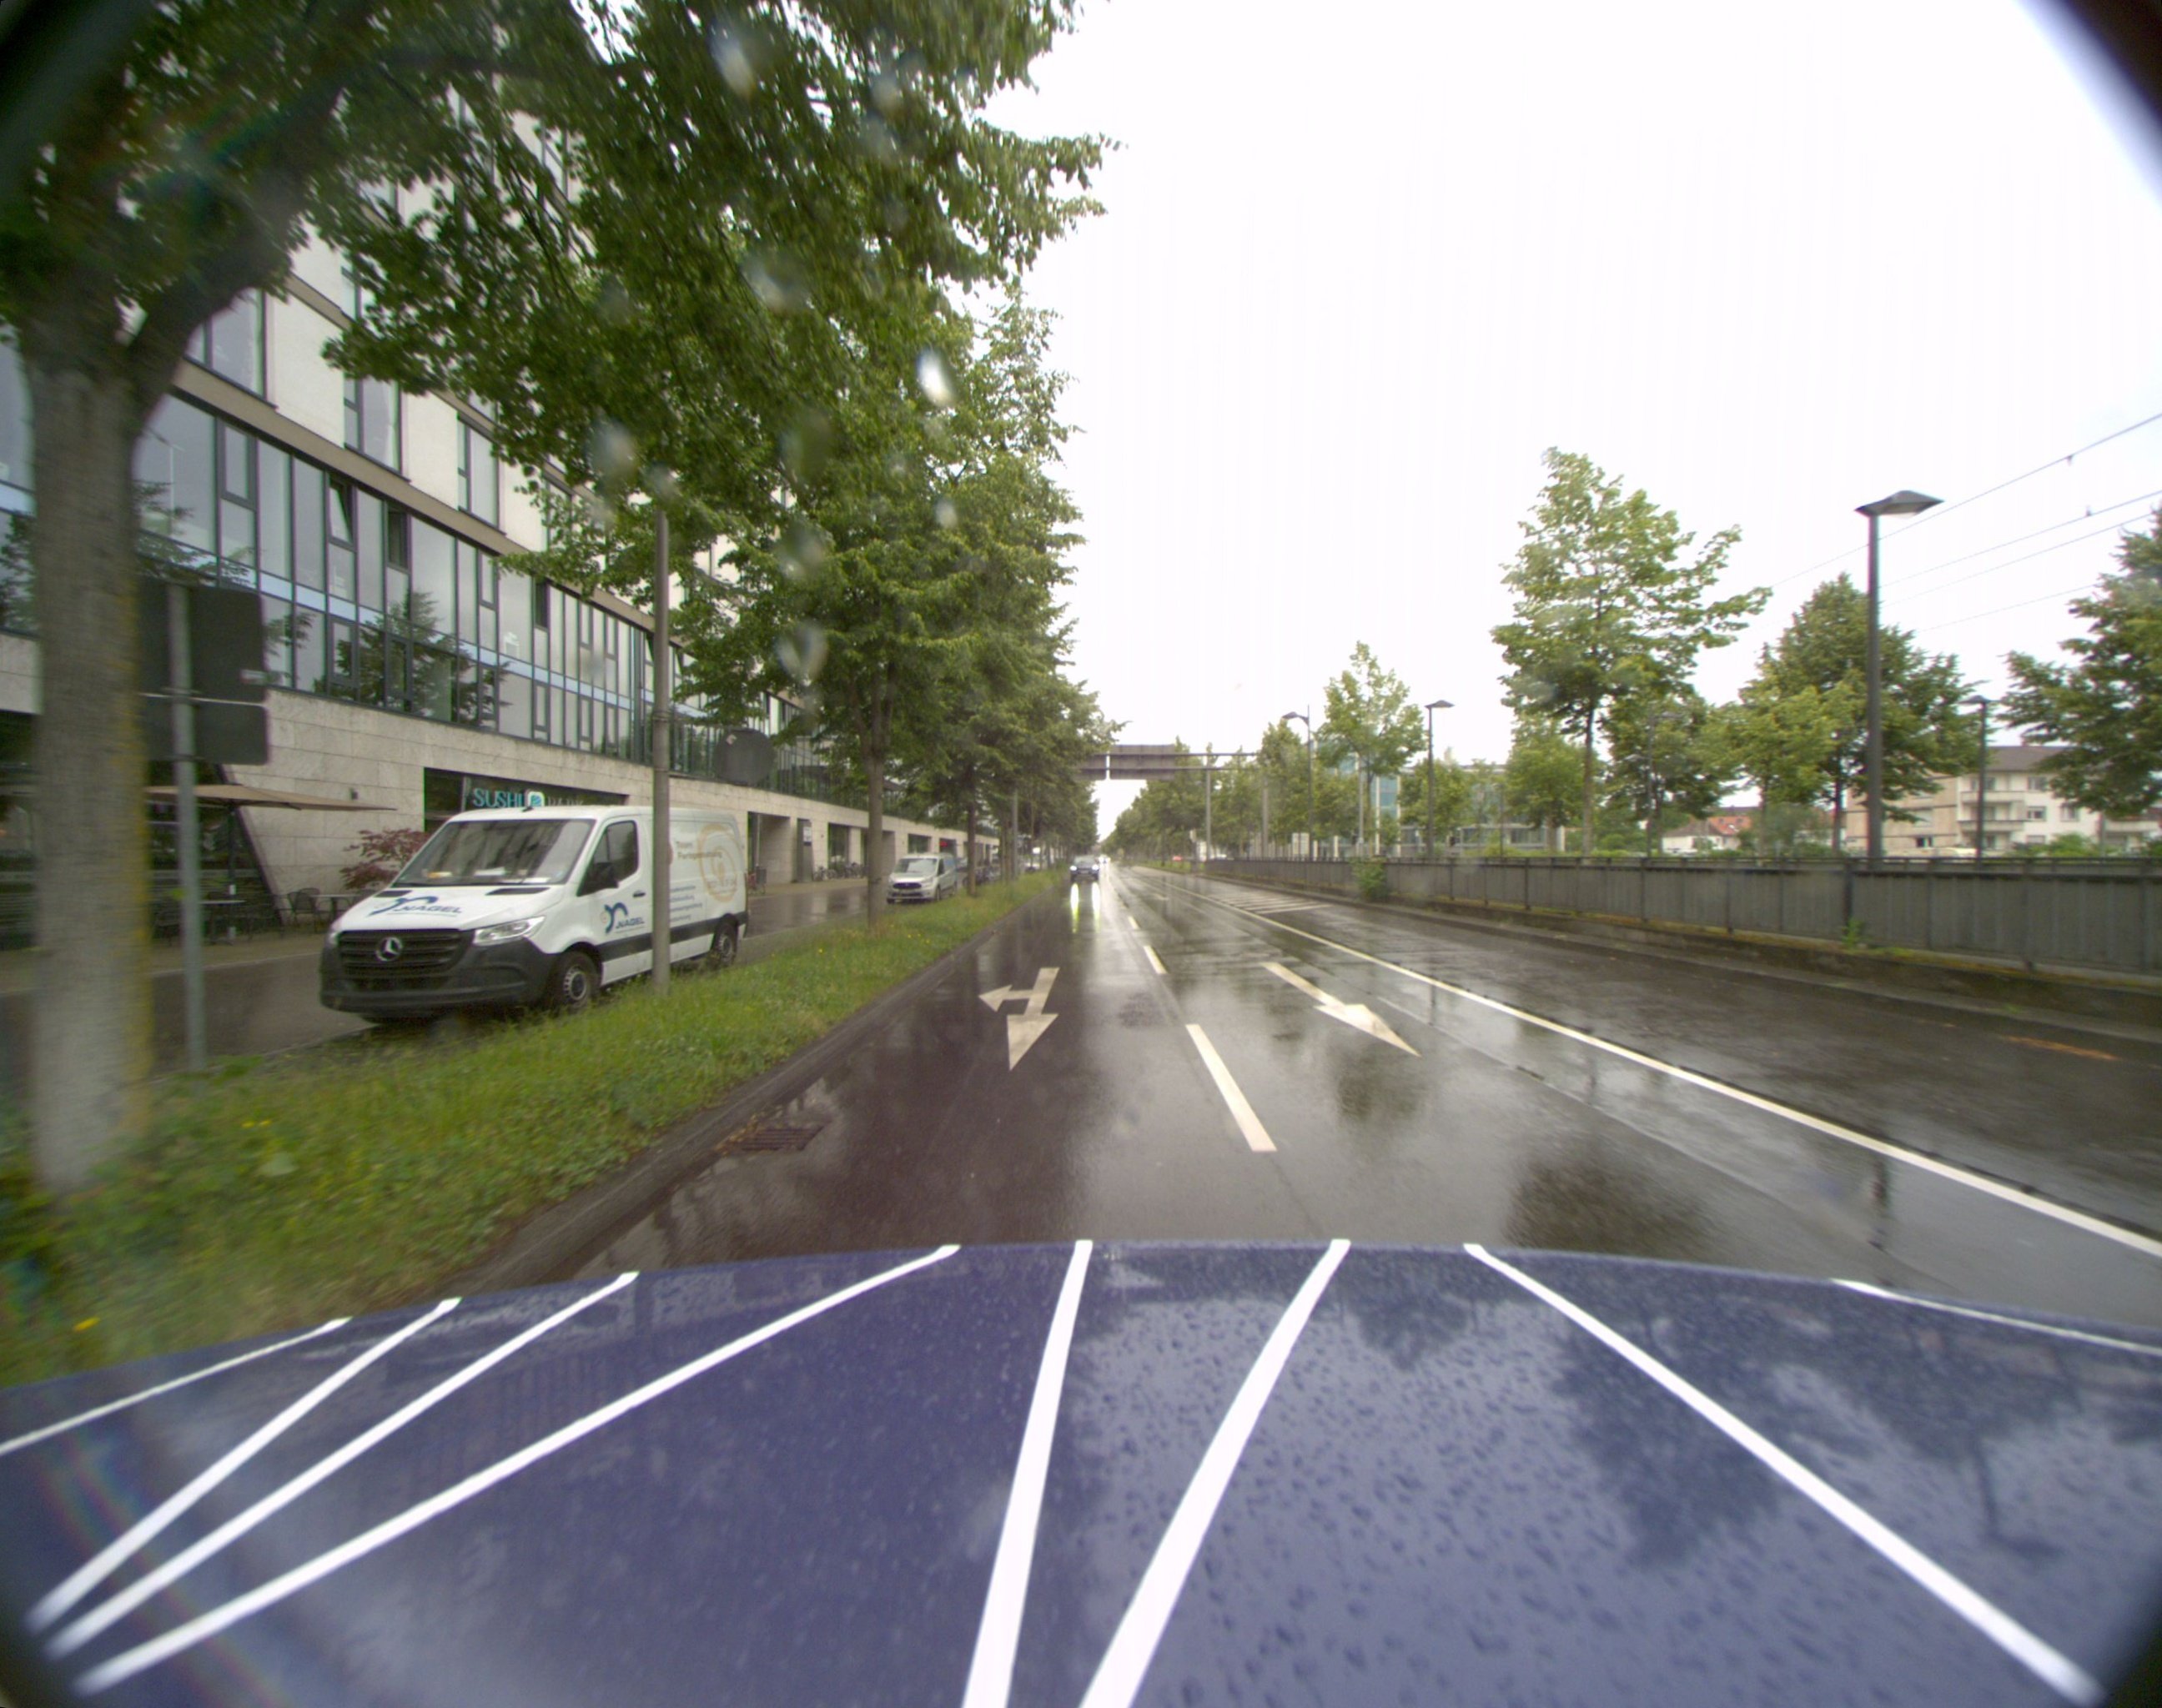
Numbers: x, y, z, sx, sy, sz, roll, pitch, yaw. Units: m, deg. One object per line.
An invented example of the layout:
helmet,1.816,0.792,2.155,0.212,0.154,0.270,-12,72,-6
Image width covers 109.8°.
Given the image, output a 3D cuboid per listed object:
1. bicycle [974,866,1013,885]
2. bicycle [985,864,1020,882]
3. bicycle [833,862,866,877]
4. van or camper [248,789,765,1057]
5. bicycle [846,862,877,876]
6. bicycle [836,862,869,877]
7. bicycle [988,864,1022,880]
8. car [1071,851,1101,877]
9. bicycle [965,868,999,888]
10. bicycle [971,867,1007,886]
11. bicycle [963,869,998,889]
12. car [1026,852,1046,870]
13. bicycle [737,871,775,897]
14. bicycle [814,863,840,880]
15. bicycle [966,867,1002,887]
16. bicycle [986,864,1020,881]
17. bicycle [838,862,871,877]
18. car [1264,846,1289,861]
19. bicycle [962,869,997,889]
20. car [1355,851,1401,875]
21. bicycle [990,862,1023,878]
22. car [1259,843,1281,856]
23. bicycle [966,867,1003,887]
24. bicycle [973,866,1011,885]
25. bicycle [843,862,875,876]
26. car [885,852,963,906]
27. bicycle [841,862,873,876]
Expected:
bicycle,-4.846,1.189,42.094,2.040,0.940,0.395,-3,1,-3
bicycle,-4.726,1.146,46.016,2.040,0.940,0.466,-3,1,-3
bicycle,-15.068,1.034,49.453,2.028,0.940,0.395,1,1,-3
van or camper,-6.070,0.578,9.258,2.030,2.279,5.460,-1,0,1
bicycle,-15.193,1.021,52.574,2.028,0.940,0.395,1,1,-3
bicycle,-15.096,1.033,50.153,2.028,0.940,0.395,1,1,-3
bicycle,-4.818,1.128,48.290,2.040,0.940,0.541,-3,1,-3
car,0.395,0.618,51.334,1.815,1.603,4.000,-2,1,2
bicycle,-5.132,1.260,39.377,1.649,0.940,0.395,-3,1,-3
bicycle,-4.981,1.204,41.155,1.882,0.940,0.395,-3,1,-3
bicycle,-5.102,1.268,38.662,1.698,0.940,0.395,-3,1,-3
car,-4.529,0.678,77.127,1.658,1.710,4.000,-2,1,1
bicycle,-12.814,1.153,30.007,0.402,0.940,1.859,-1,1,9
bicycle,-15.341,1.053,45.882,1.657,0.940,0.347,1,1,20
bicycle,-5.101,1.223,39.940,1.792,0.940,0.395,-3,1,-3
bicycle,-4.807,1.141,46.972,2.040,0.940,0.542,-3,1,-3
bicycle,-15.123,1.032,50.747,2.028,0.940,0.395,1,1,-3
car,24.294,-0.111,94.387,1.999,1.736,3.999,-3,1,-1
bicycle,-5.073,1.245,37.946,1.666,0.940,0.395,-3,1,-3
car,23.544,0.695,60.363,1.999,1.736,3.999,-3,1,-1
bicycle,-4.821,1.055,49.258,2.040,0.940,0.519,-3,1,-3
car,27.029,-0.703,108.813,1.999,1.736,3.999,-3,1,-1
bicycle,-5.153,1.218,40.586,1.861,0.940,0.395,-3,1,-3
bicycle,-4.860,1.192,41.654,2.007,0.940,0.395,-3,1,-3
bicycle,-15.151,1.020,51.844,2.028,0.940,0.395,1,1,-3
car,-5.659,0.837,27.954,1.746,1.749,4.848,-1,0,1
bicycle,-15.119,1.018,51.326,2.028,0.940,0.395,1,1,-3
